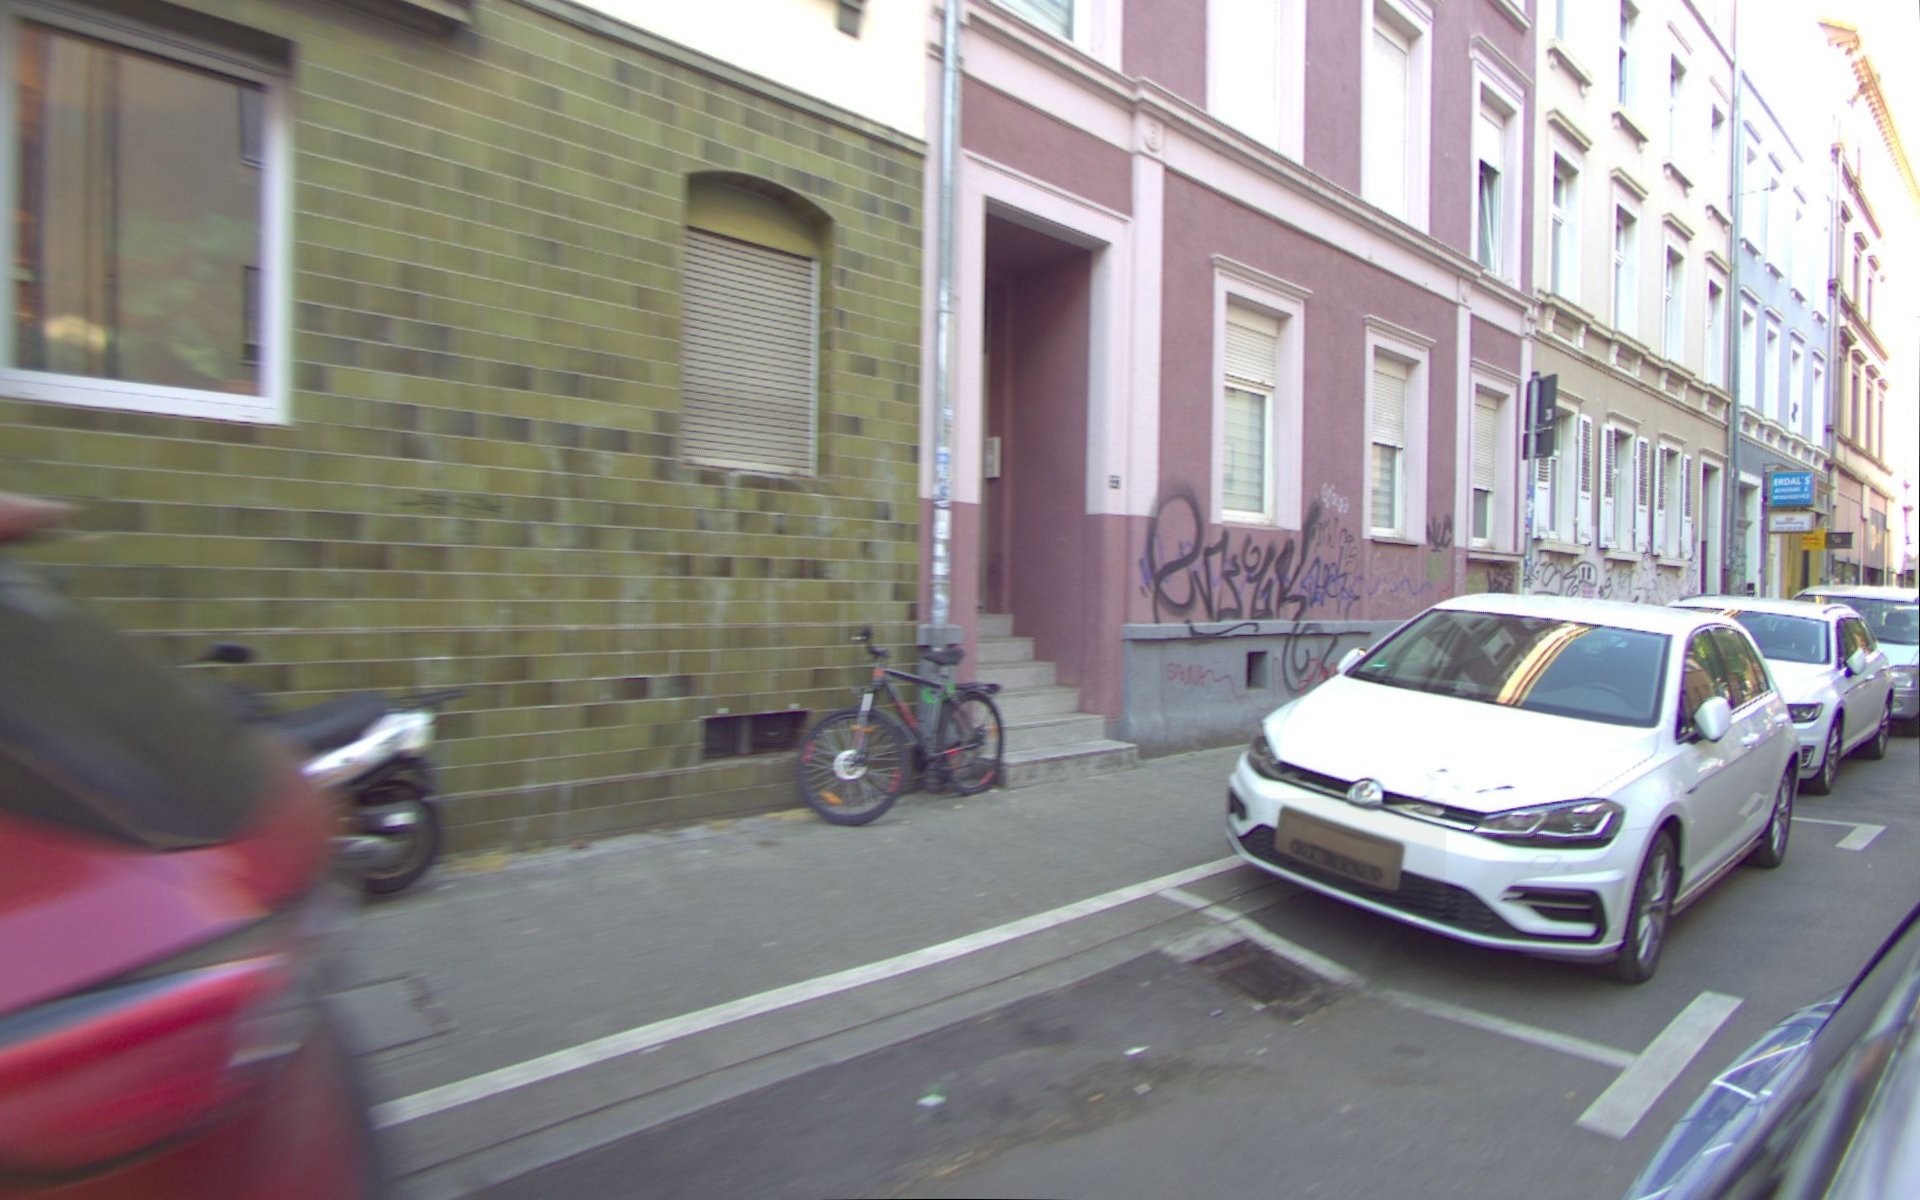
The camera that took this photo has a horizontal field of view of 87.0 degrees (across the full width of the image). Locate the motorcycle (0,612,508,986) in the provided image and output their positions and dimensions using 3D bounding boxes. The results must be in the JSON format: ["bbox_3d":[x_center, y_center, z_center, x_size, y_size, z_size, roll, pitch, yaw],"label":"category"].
[{"bbox_3d":[-2.701,0.635,3.797,1.745,1.108,0.559,-1,4,-41],"label":"motorcycle"}]

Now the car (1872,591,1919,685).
[{"bbox_3d":[17.139,0.605,17.653,3.552,1.530,1.553,-1,0,-44],"label":"car"}]

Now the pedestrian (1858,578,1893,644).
[{"bbox_3d":[24.846,0.287,27.476,0.627,1.762,0.650,-1,0,37],"label":"pedestrian"}]

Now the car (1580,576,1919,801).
[{"bbox_3d":[7.521,0.599,9.408,4.549,1.562,1.700,-1,3,-42],"label":"car"}]

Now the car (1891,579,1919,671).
[{"bbox_3d":[21.004,0.475,21.114,4.240,1.816,1.902,-1,0,-41],"label":"car"}]

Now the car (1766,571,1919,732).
[{"bbox_3d":[11.294,0.533,12.465,3.497,1.733,1.559,-1,0,-41],"label":"car"}]

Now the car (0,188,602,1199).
[{"bbox_3d":[-2.622,0.533,0.392,4.290,1.727,1.921,0,1,-41],"label":"car"}]

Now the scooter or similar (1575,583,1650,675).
[{"bbox_3d":[9.053,0.378,14.019,1.345,1.197,0.451,-1,5,-42],"label":"scooter or similar"}]

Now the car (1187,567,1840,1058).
[{"bbox_3d":[3.088,0.657,5.256,3.976,1.562,1.690,-1,3,-42],"label":"car"}]

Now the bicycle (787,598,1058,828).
[{"bbox_3d":[-0.176,0.588,6.034,1.656,1.188,0.522,-1,0,-41],"label":"bicycle"}]
